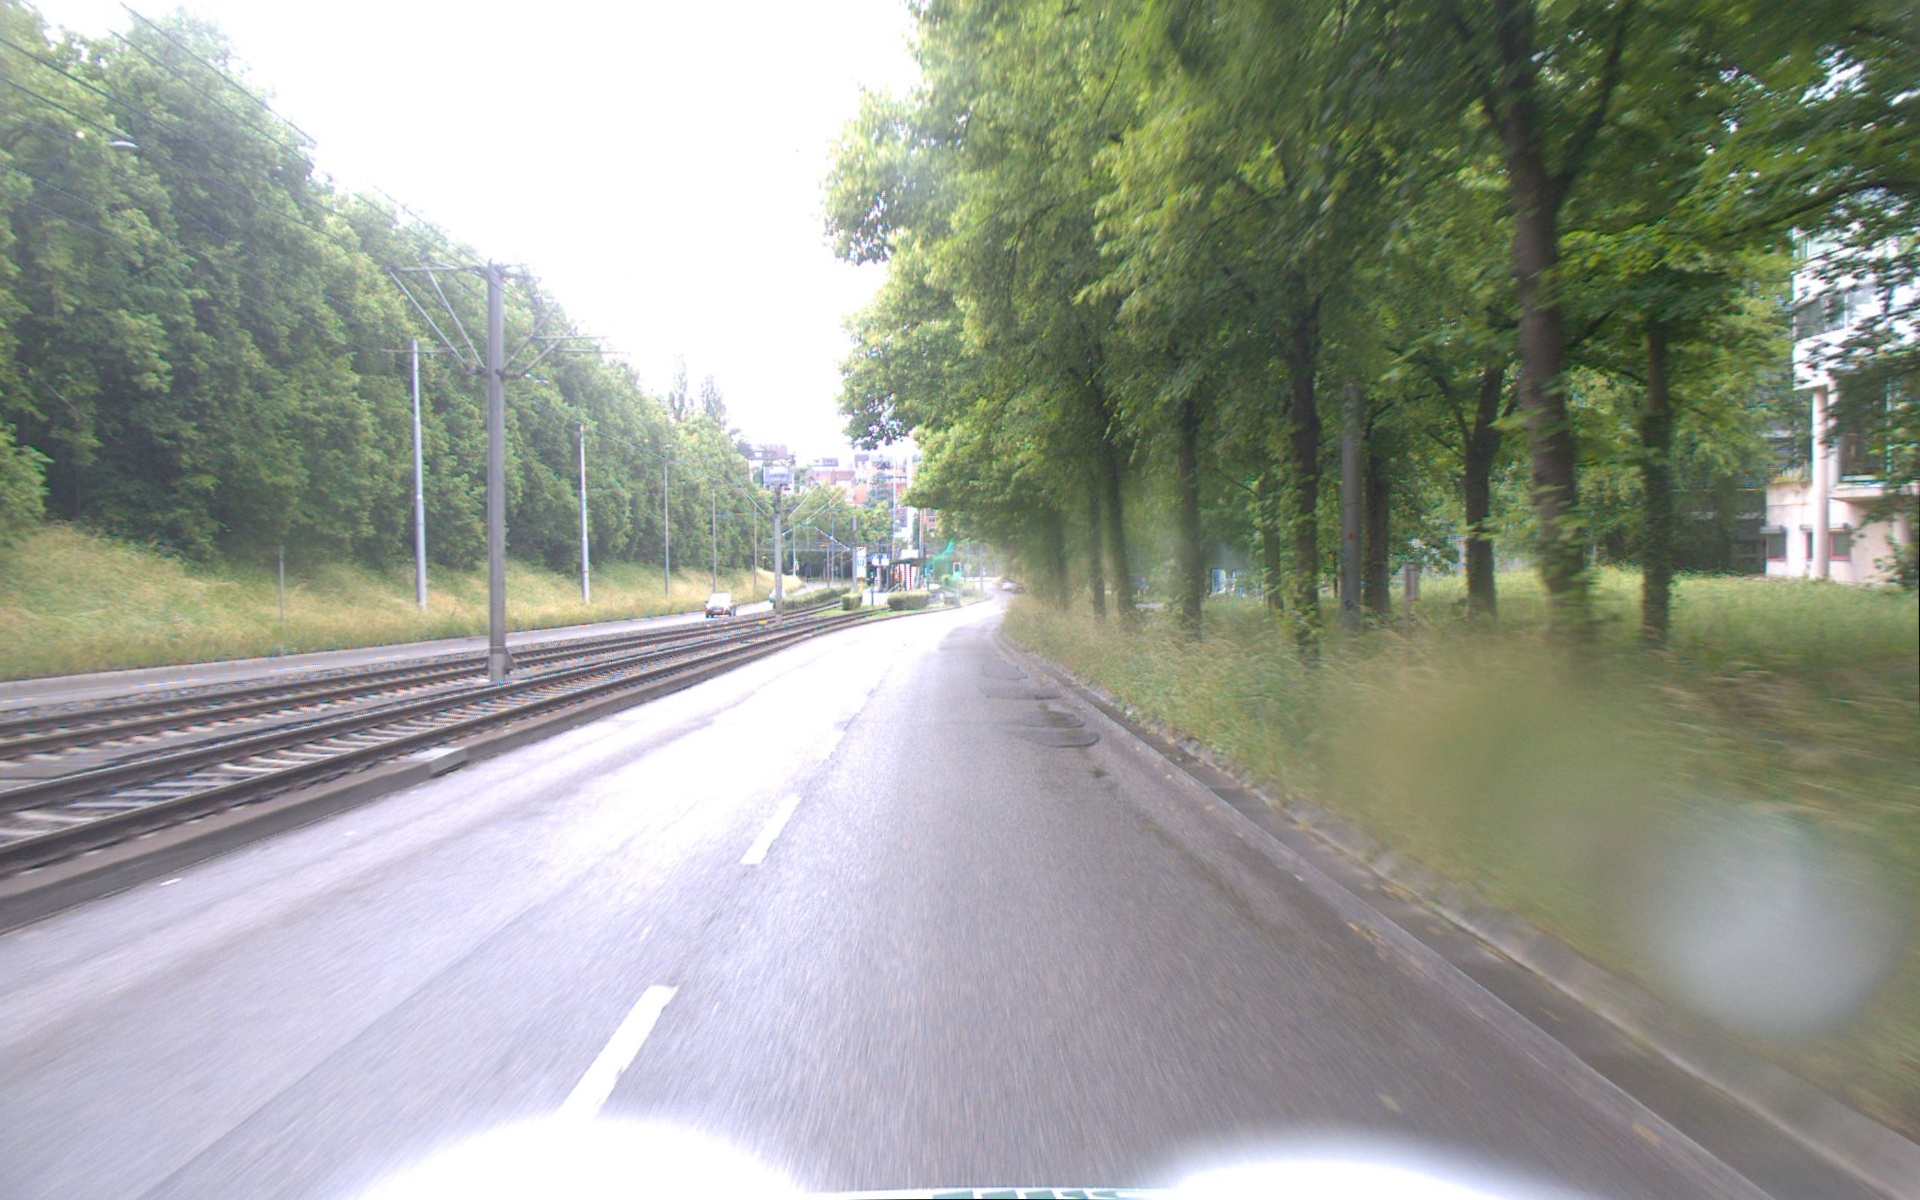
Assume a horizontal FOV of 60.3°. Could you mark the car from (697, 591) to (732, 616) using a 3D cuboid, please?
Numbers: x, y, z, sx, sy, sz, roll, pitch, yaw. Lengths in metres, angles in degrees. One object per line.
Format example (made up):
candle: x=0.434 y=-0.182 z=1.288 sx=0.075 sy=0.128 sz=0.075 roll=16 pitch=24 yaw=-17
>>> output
car: x=-15.620 y=0.224 z=105.360 sx=1.636 sy=1.468 sz=4.026 roll=-3 pitch=0 yaw=-2

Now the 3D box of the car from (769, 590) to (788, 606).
car: x=-19.871 y=-0.221 z=180.942 sx=1.749 sy=1.579 sz=3.959 roll=-2 pitch=0 yaw=-3
